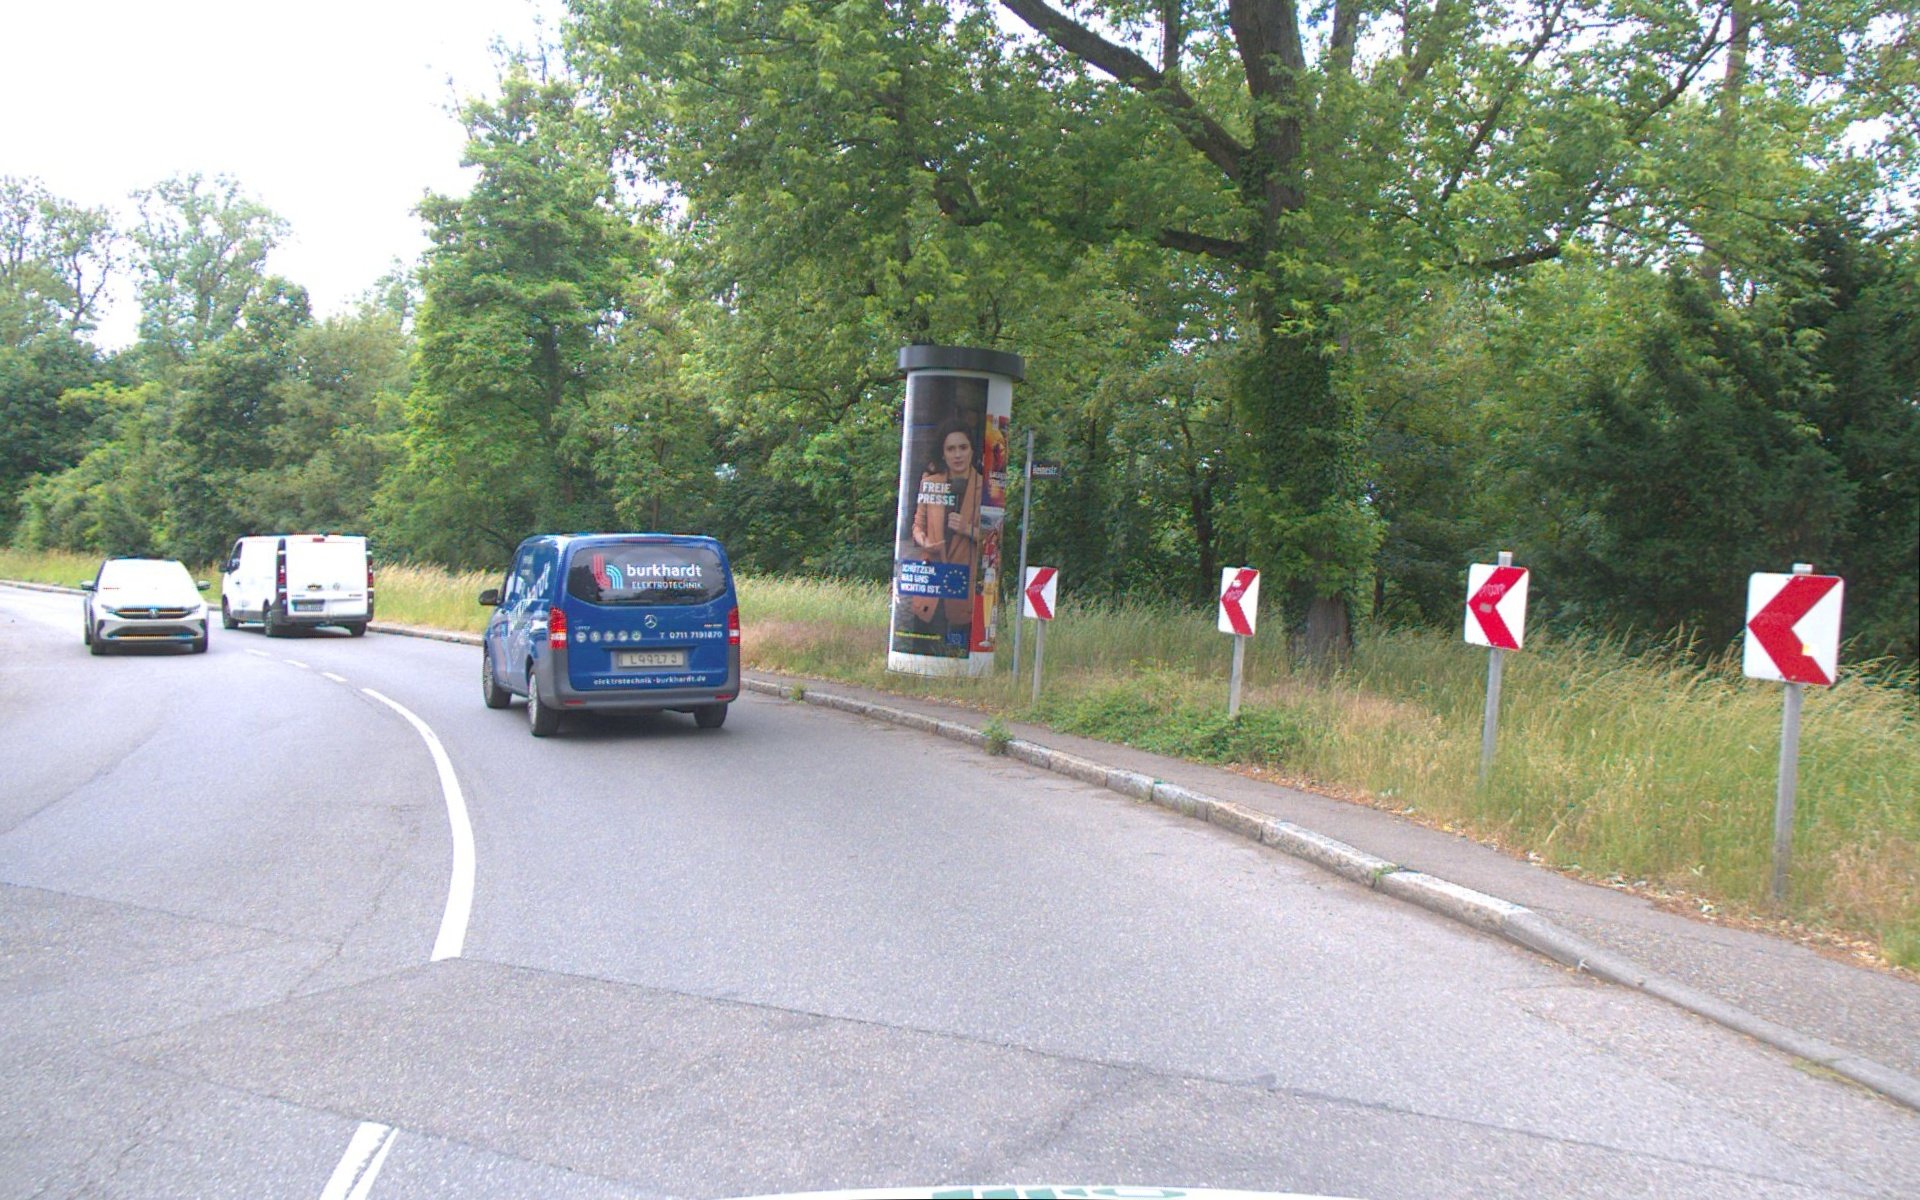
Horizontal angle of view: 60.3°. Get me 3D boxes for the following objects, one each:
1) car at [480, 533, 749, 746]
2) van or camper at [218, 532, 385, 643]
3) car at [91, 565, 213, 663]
[{"bbox_3d":[-3.653,0.291,16.895,1.888,1.869,4.263,-1,2,-23],"label":"car"},{"bbox_3d":[-13.401,-0.298,33.495,2.003,1.990,4.835,1,2,-36],"label":"van or camper"},{"bbox_3d":[-13.795,0.170,28.151,1.705,1.482,4.042,-2,2,-28],"label":"car"}]
